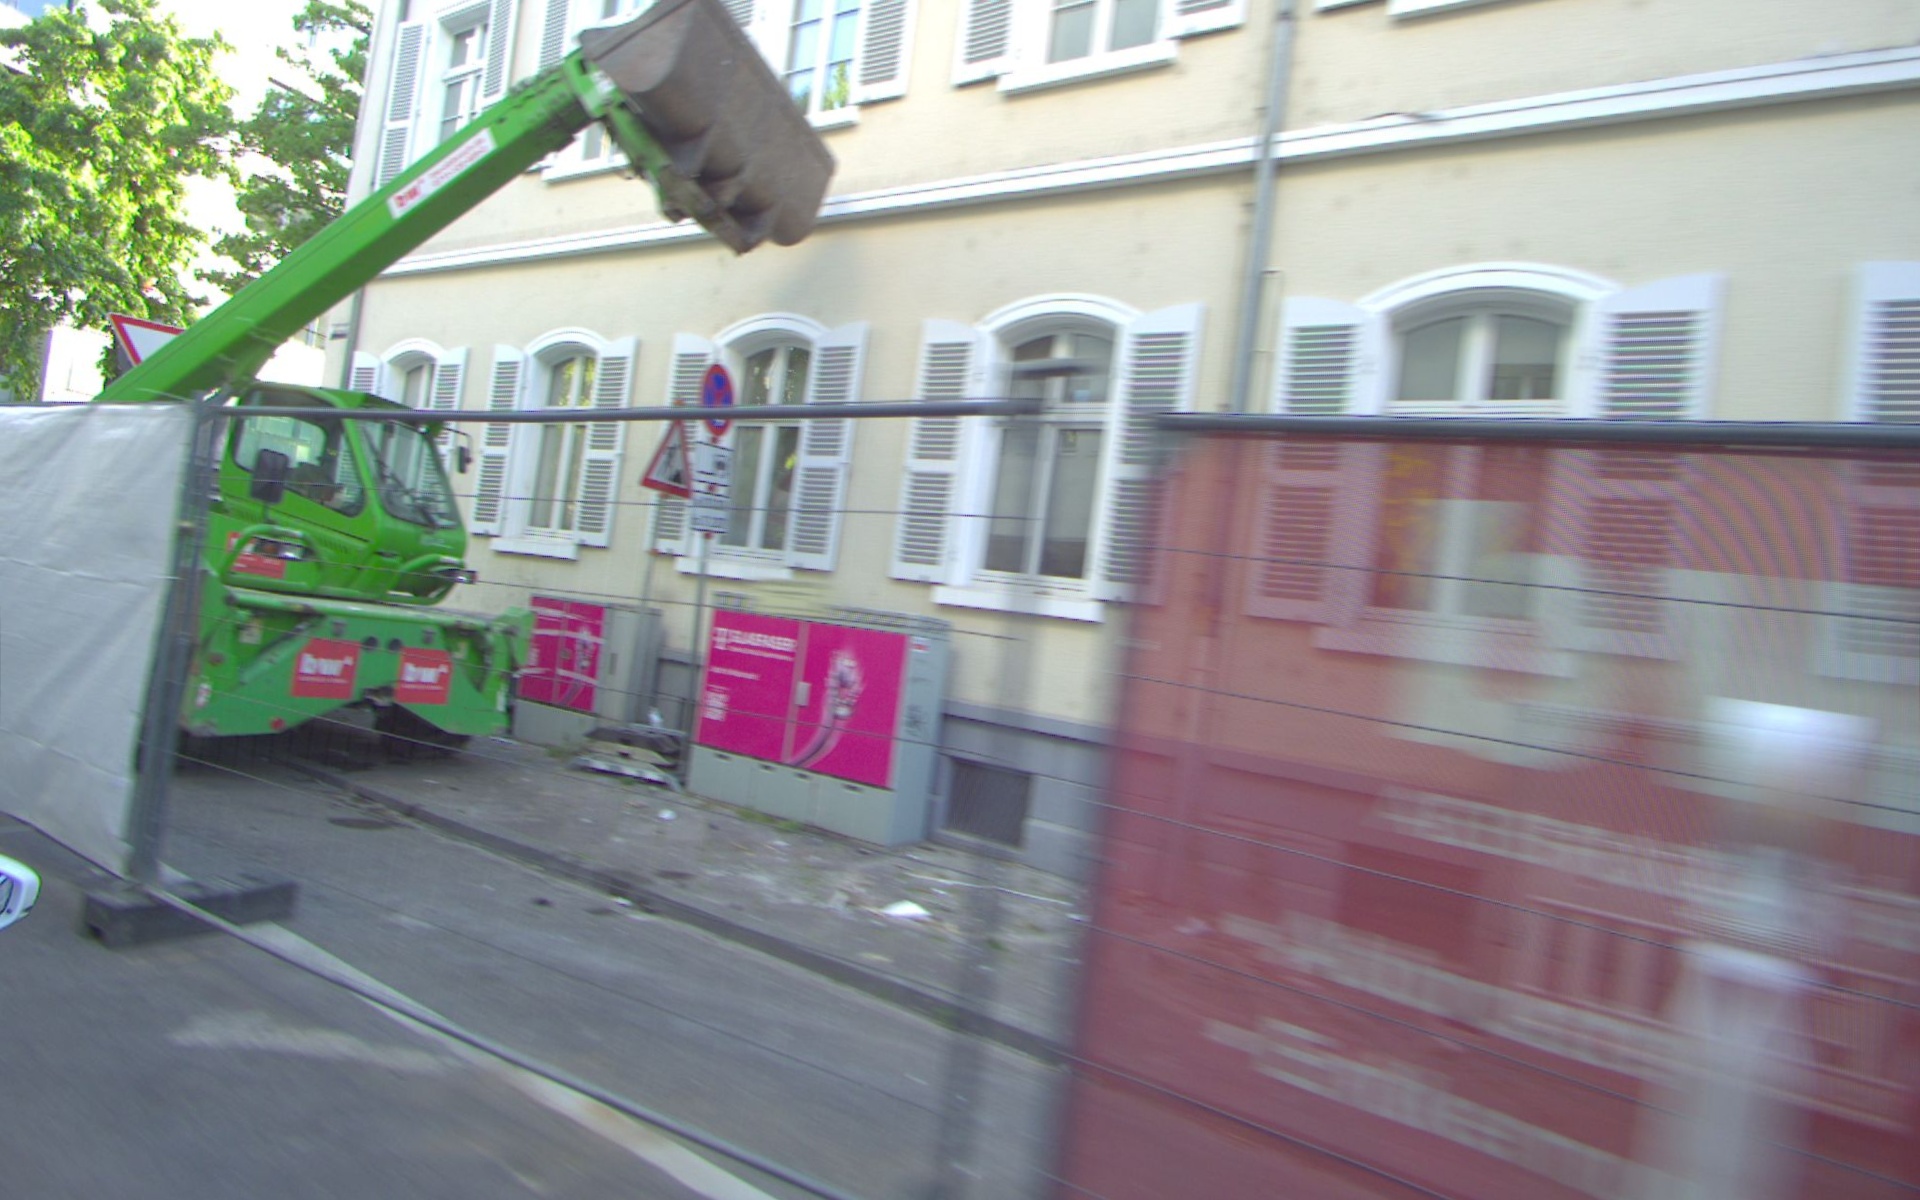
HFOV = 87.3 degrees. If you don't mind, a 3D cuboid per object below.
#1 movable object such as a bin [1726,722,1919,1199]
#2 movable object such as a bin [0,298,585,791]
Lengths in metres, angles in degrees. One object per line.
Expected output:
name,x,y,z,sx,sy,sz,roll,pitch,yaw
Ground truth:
movable object such as a bin,5.682,1.541,0.967,7.425,1.656,2.744,7,-3,31
movable object such as a bin,-5.687,-0.412,8.085,4.376,2.872,2.609,7,-1,32
